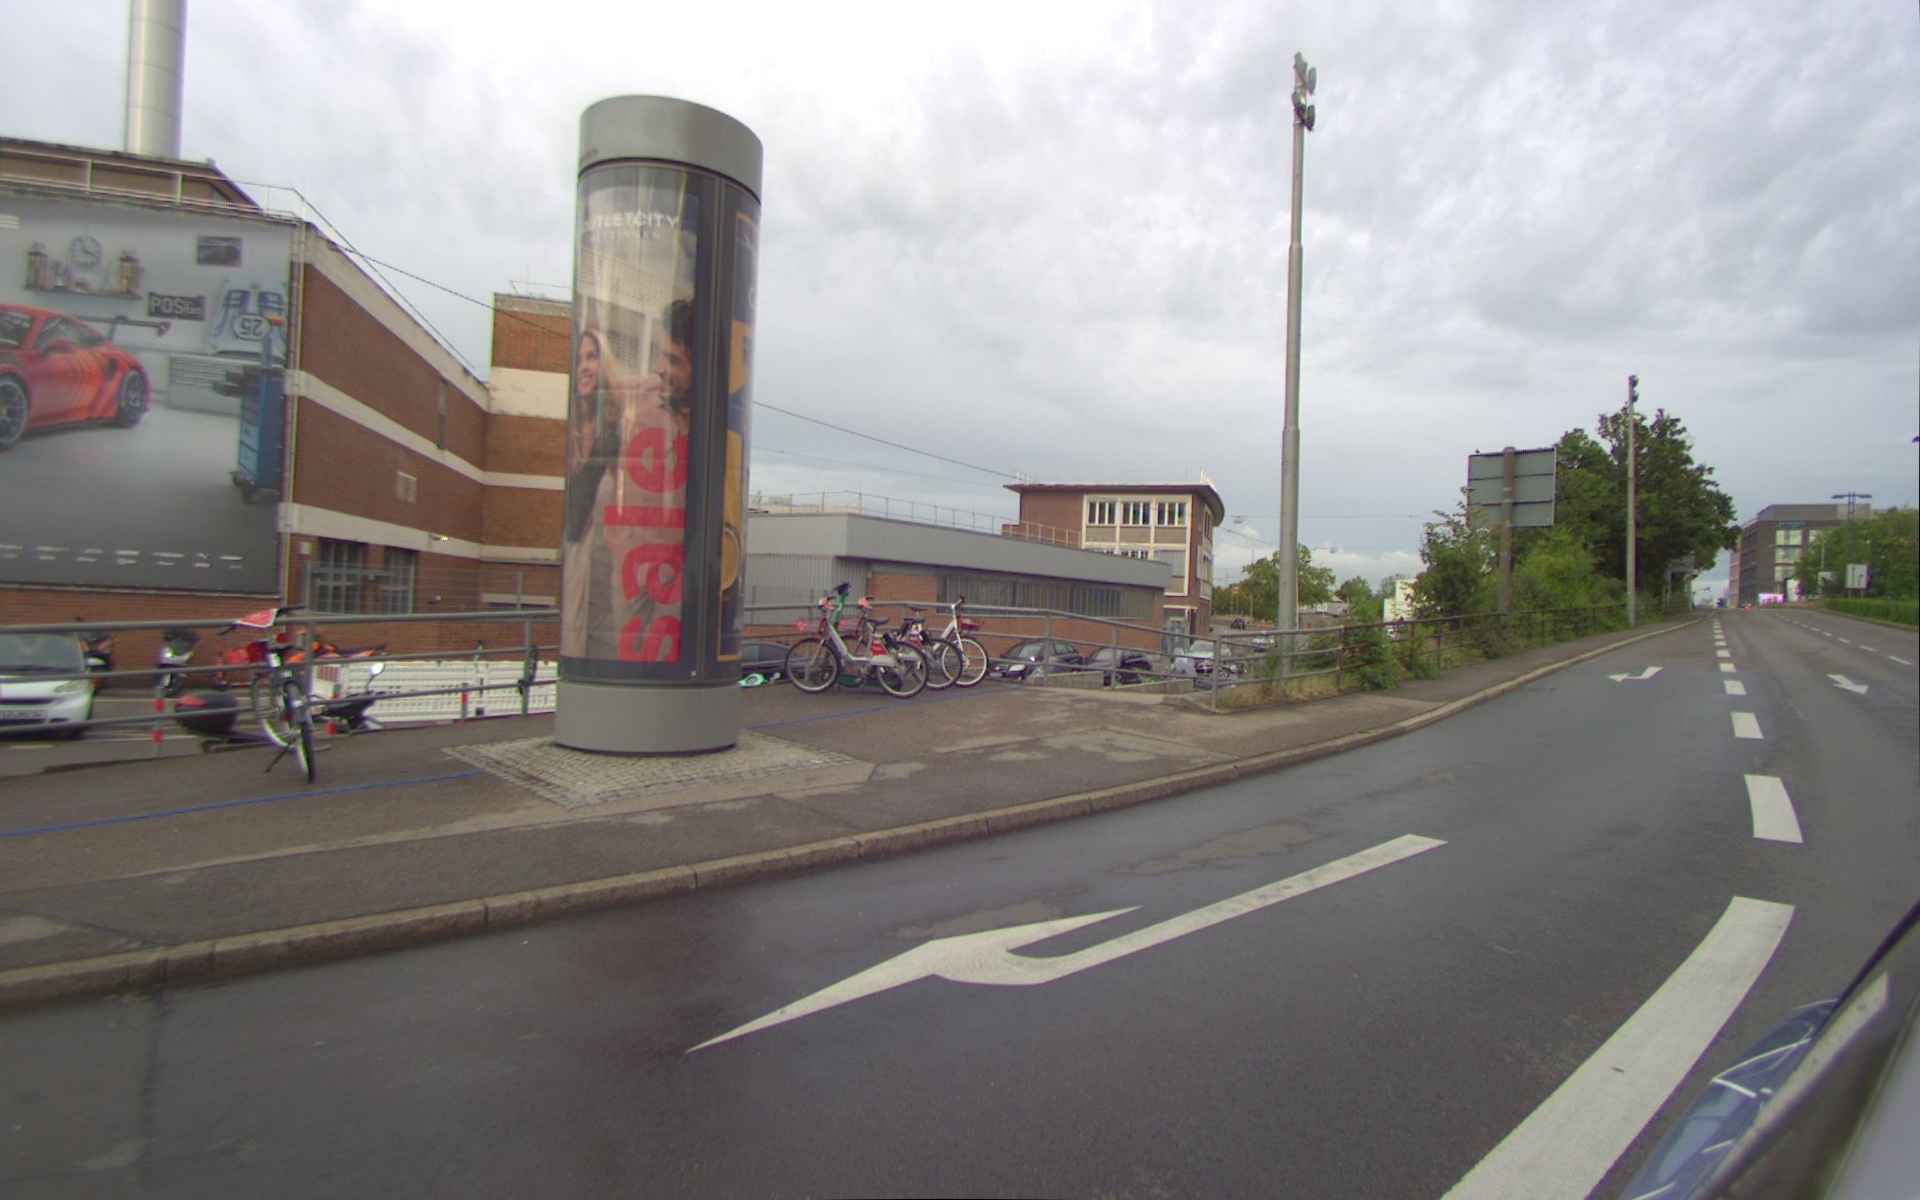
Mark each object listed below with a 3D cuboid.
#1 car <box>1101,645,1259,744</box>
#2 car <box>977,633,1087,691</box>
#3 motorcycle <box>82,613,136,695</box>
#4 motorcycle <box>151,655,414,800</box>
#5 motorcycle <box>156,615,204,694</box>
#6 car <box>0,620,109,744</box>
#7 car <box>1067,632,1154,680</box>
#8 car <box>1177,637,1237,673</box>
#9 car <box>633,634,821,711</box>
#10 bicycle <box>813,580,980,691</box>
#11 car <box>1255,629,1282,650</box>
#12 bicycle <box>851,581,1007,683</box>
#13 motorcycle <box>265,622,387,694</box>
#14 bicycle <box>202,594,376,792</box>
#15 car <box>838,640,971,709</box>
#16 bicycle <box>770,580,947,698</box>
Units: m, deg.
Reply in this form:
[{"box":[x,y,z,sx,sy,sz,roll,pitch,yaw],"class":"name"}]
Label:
[{"box":[4.505,1.803,20.404,1.694,1.574,3.805,1,1,37],"class":"car"},{"box":[2.493,2.039,34.166,1.629,1.652,4.371,1,1,37],"class":"car"},{"box":[-16.147,0.994,19.234,0.675,1.325,2.022,3,2,-38],"class":"motorcycle"},{"box":[-5.714,1.025,8.625,0.696,1.002,1.726,1,0,38],"class":"motorcycle"},{"box":[-15.253,1.040,19.814,0.562,1.325,1.873,3,2,-34],"class":"motorcycle"},{"box":[-13.819,1.137,15.077,1.663,1.500,3.557,4,-1,-40],"class":"car"},{"box":[5.824,2.103,38.893,1.694,1.574,3.805,1,1,37],"class":"car"},{"box":[12.386,2.720,50.640,1.692,1.574,3.809,1,1,35],"class":"car"},{"box":[-5.402,1.669,23.956,1.694,1.630,4.204,-1,-3,37],"class":"car"},{"box":[-0.750,0.401,12.114,1.900,1.239,0.598,1,1,8],"class":"bicycle"},{"box":[23.337,2.943,76.520,1.648,1.413,3.971,0,0,21],"class":"car"},{"box":[-0.399,0.381,12.949,1.910,1.192,0.595,2,1,23],"class":"bicycle"},{"box":[-13.000,1.189,20.830,1.943,1.325,0.932,3,1,-24],"class":"motorcycle"},{"box":[-4.790,0.580,7.171,1.799,1.176,0.583,3,2,41],"class":"bicycle"},{"box":[-1.522,2.058,28.961,1.694,1.648,3.878,1,1,37],"class":"car"},{"box":[-1.139,0.416,11.487,1.901,1.239,0.598,2,1,10],"class":"bicycle"}]
